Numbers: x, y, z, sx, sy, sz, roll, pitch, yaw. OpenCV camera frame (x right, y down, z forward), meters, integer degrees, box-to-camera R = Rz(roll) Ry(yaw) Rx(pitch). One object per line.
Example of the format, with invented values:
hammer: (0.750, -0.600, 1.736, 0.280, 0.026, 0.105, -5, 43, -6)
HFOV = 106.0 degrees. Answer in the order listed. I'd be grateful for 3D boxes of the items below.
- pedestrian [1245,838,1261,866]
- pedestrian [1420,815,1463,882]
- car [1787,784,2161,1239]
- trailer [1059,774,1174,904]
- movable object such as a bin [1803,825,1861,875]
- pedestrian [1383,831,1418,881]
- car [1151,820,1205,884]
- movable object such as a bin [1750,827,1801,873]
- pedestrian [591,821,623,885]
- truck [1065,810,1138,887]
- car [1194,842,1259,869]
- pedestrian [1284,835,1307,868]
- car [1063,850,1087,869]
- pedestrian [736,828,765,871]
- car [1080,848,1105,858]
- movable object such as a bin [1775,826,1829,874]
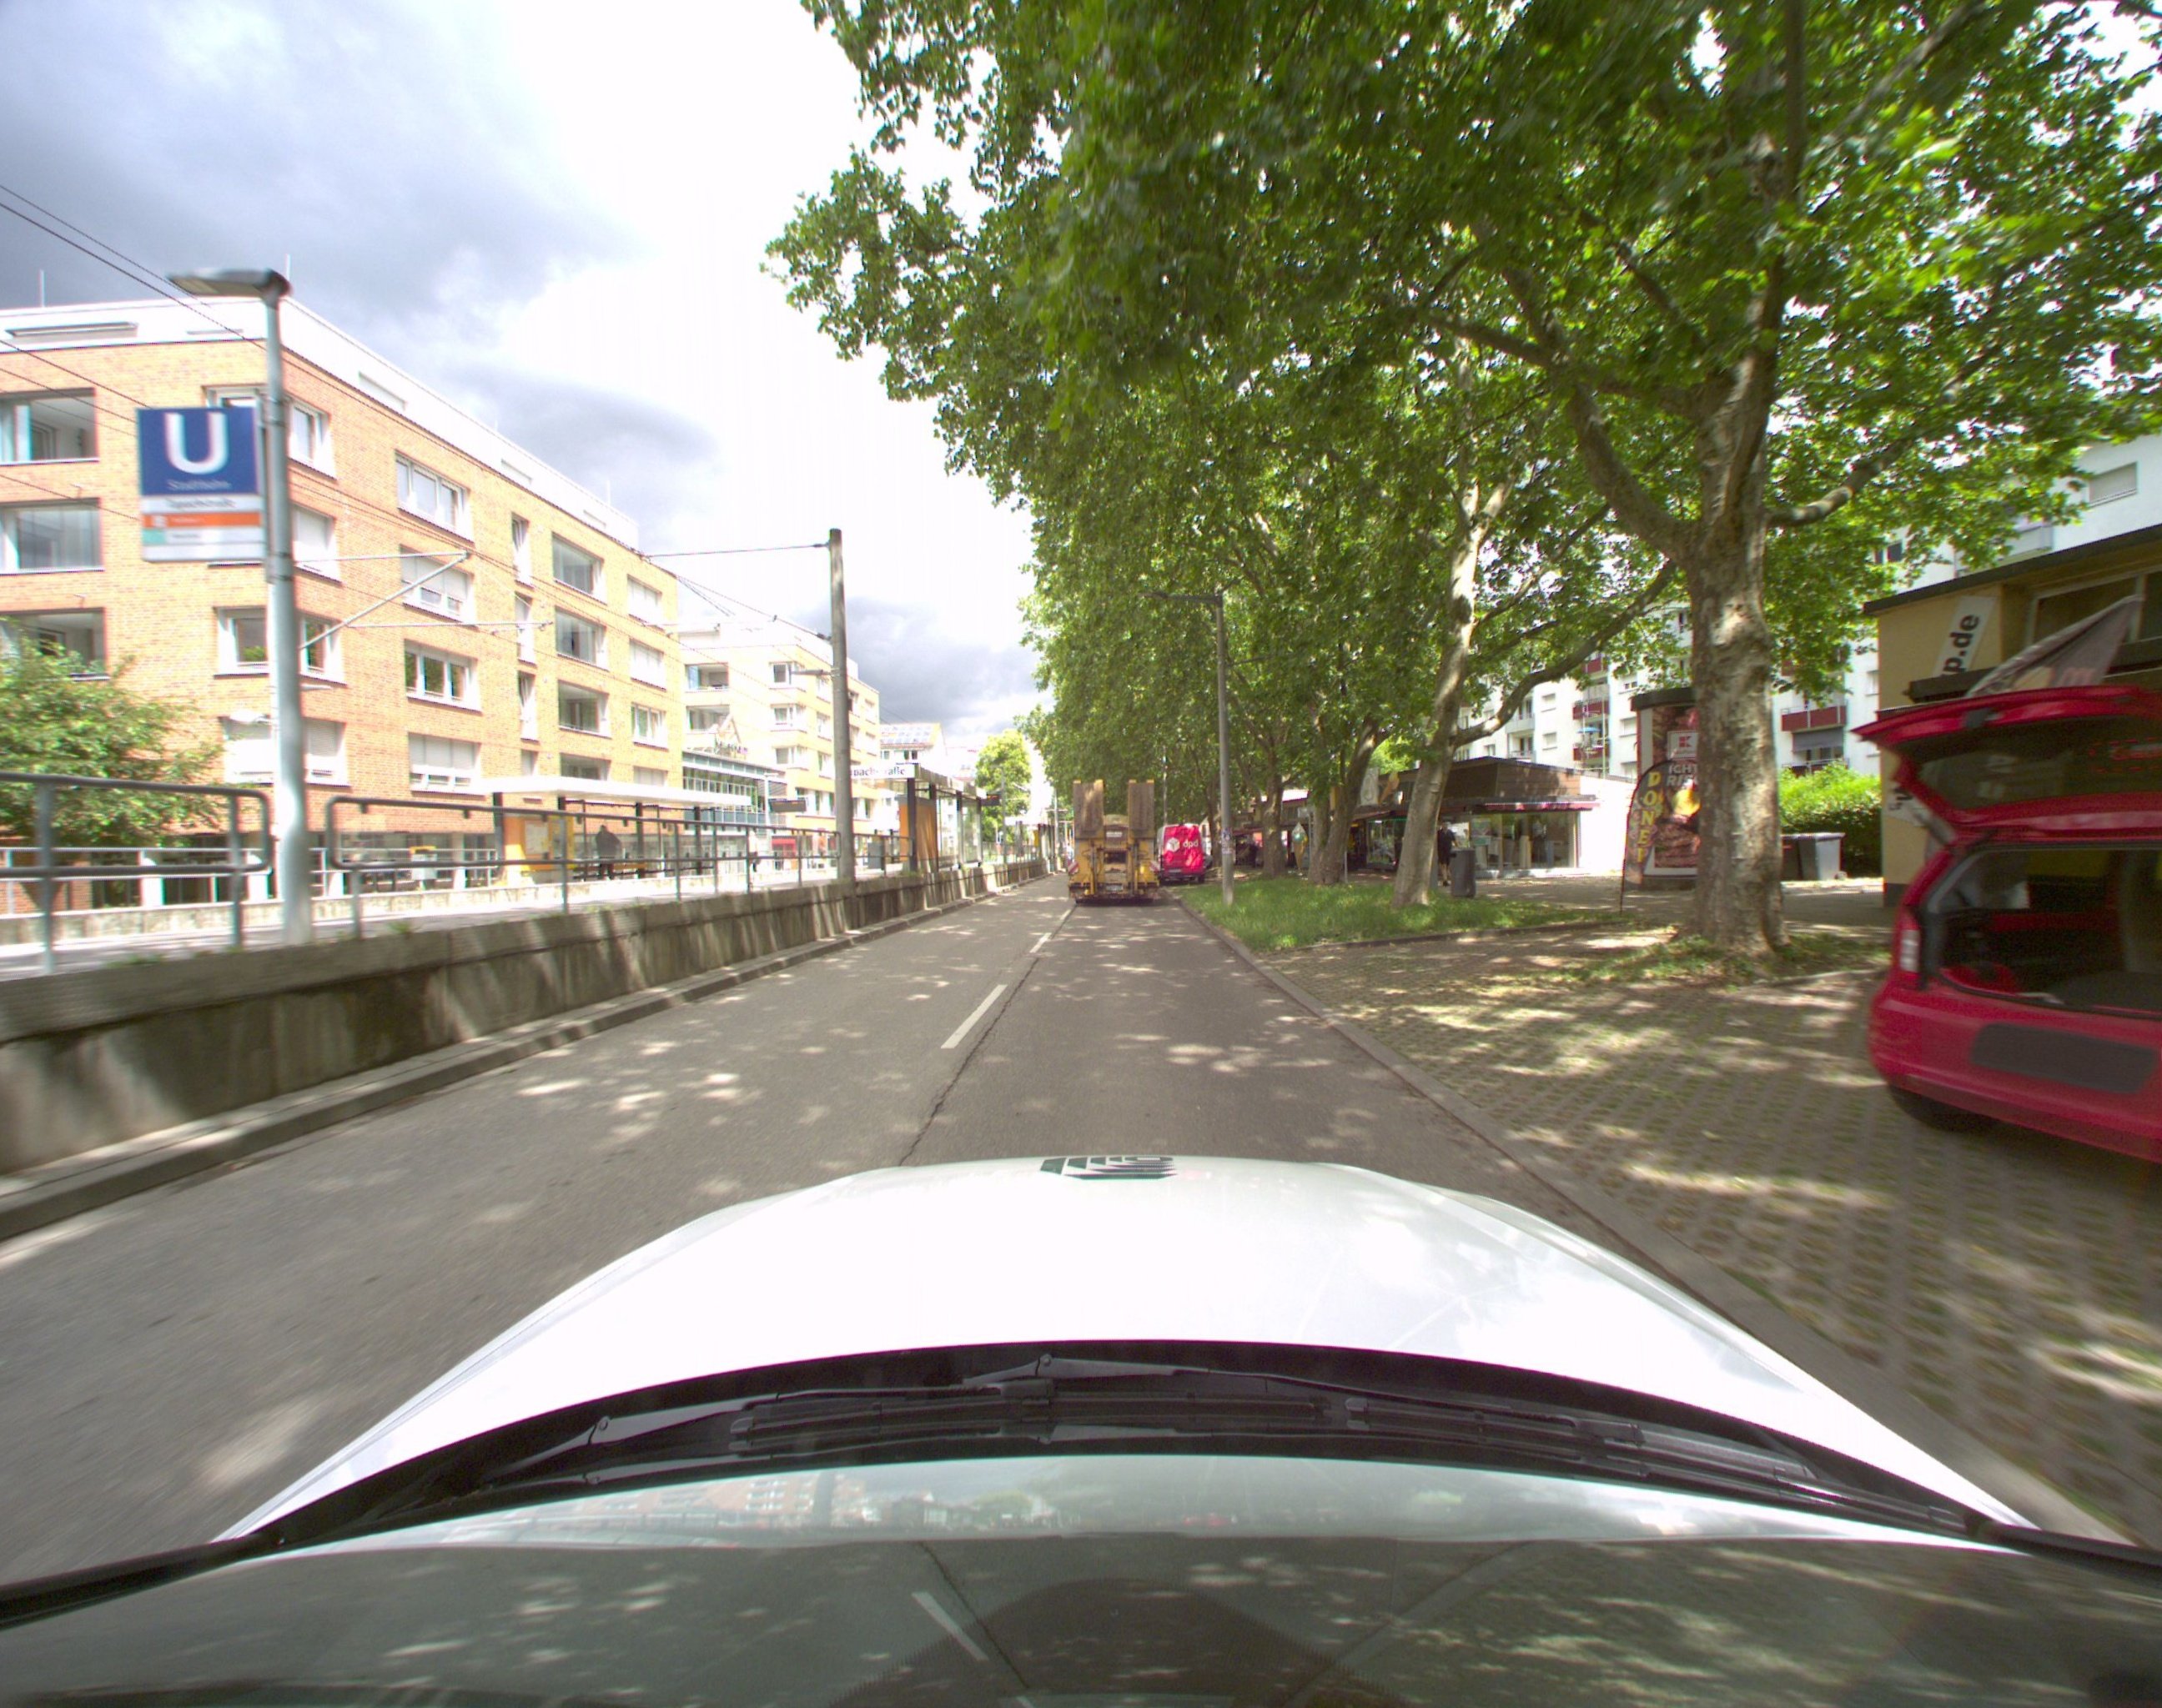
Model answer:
pedestrian: (10.848, -0.151, 51.397, 0.757, 1.724, 0.658, -3, 0, -2)
pedestrian: (10.546, -0.144, 23.829, 0.740, 1.883, 0.942, -4, -1, 2)
car: (5.288, 0.417, 3.317, 3.398, 1.514, 1.609, -5, 0, -2)
trailer: (0.913, -0.424, 27.907, 3.145, 3.552, 11.092, -1, 0, -1)
movable object such as a bin: (16.358, -0.085, 17.743, 0.622, 1.033, 0.647, -2, 0, -2)
pedestrian: (9.517, 0.067, 24.276, 0.623, 1.447, 1.029, -2, 0, 2)
car: (4.367, -0.089, 37.687, 1.897, 2.581, 6.838, -3, 0, 3)
movable object such as a bin: (16.315, -0.085, 19.147, 0.622, 1.033, 0.647, -2, 0, -2)
pedestrian: (-13.379, -0.032, 22.988, 0.532, 1.763, 0.528, -2, 0, -1)
truck: (0.820, -0.245, 37.393, 2.980, 3.135, 7.885, -1, 0, 0)
car: (9.470, 0.079, 53.120, 3.822, 1.562, 1.617, -3, 0, -5)
pedestrian: (11.790, -0.130, 44.753, 0.609, 1.801, 0.915, -2, -1, -43)
car: (-0.407, 0.431, 61.439, 1.726, 1.396, 3.752, 0, 0, 1)
pedestrian: (-12.705, -0.177, 31.335, 0.748, 1.629, 0.816, -1, 0, 2)
car: (2.468, -0.249, 177.261, 5.092, 2.102, 1.969, 0, 0, -12)
movable object such as a bin: (16.315, -0.085, 18.437, 0.622, 1.033, 0.647, -2, 0, -2)
